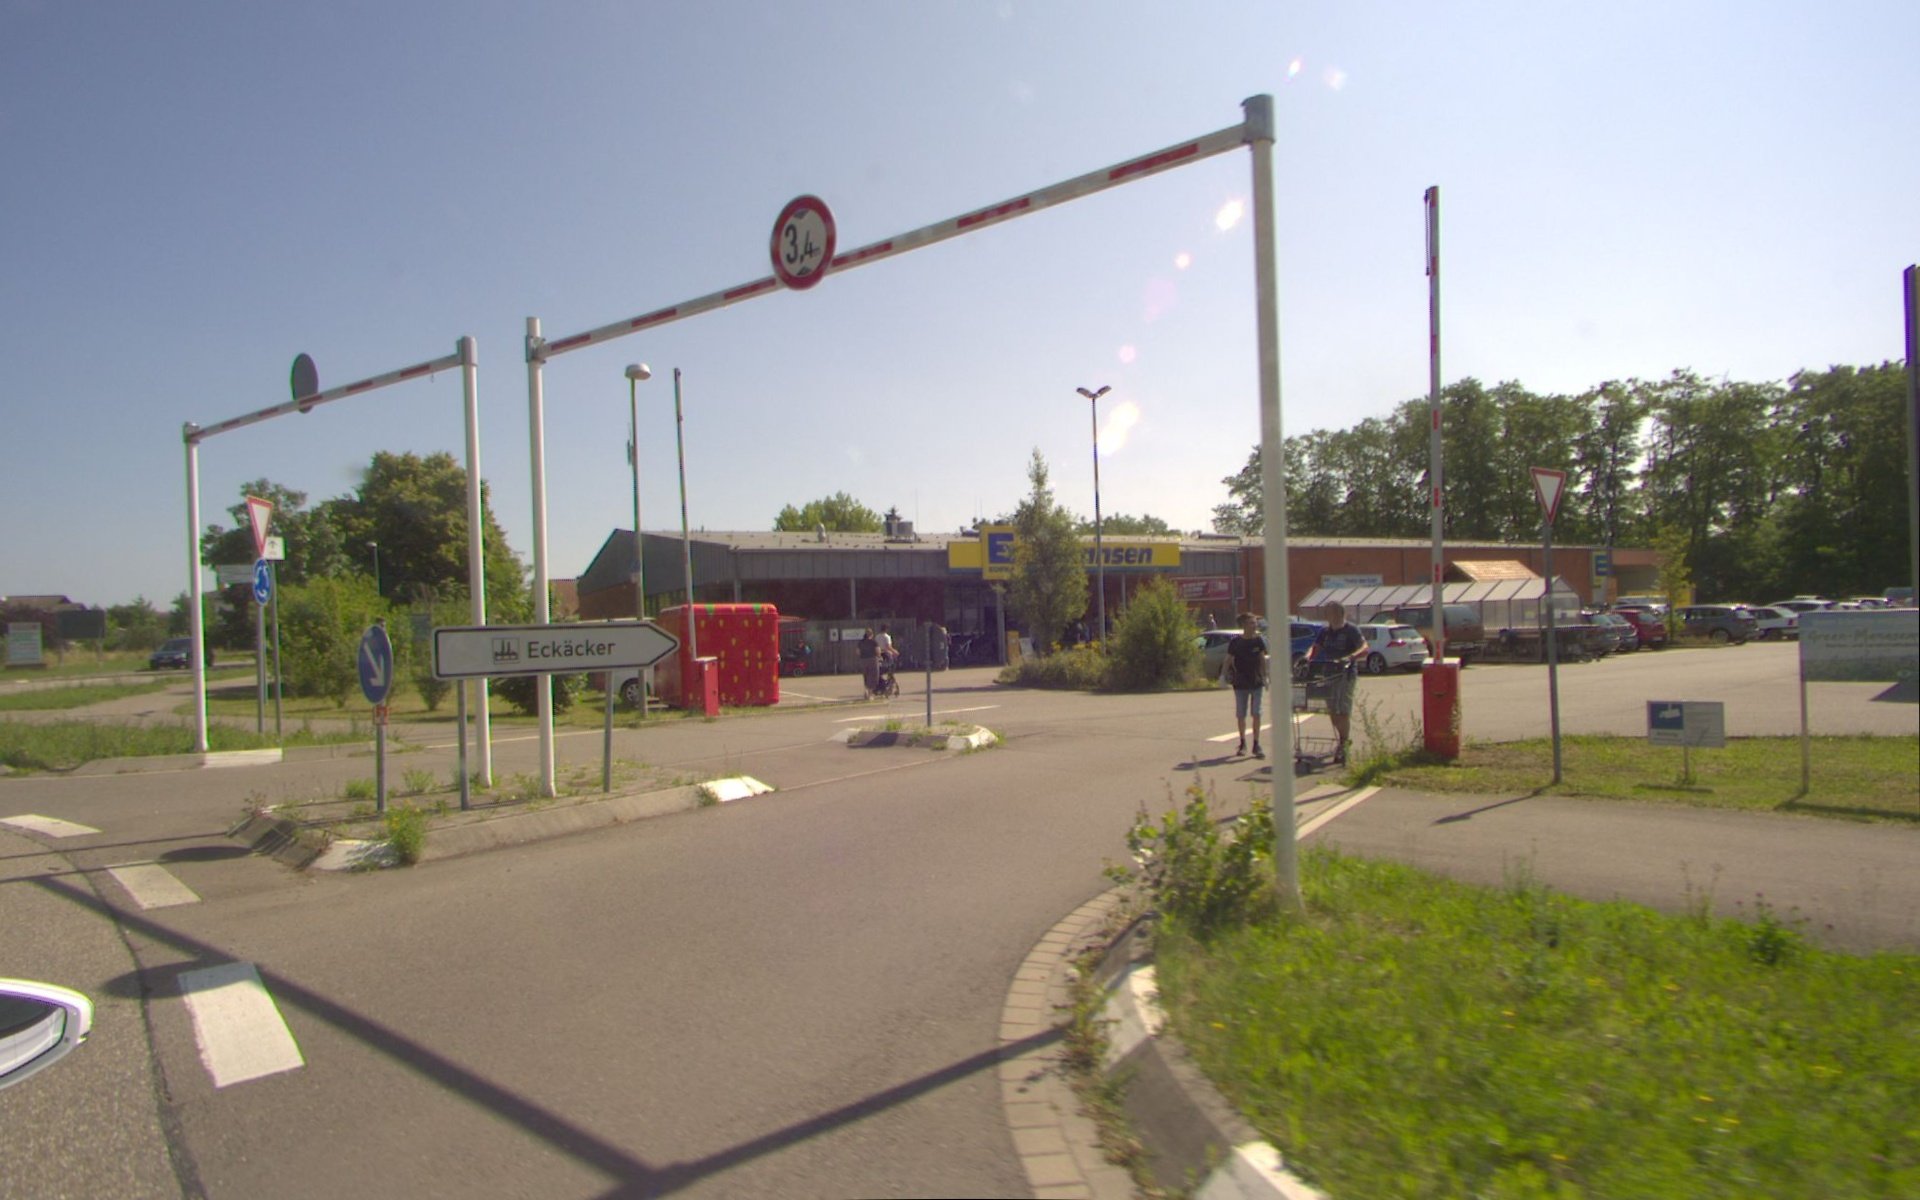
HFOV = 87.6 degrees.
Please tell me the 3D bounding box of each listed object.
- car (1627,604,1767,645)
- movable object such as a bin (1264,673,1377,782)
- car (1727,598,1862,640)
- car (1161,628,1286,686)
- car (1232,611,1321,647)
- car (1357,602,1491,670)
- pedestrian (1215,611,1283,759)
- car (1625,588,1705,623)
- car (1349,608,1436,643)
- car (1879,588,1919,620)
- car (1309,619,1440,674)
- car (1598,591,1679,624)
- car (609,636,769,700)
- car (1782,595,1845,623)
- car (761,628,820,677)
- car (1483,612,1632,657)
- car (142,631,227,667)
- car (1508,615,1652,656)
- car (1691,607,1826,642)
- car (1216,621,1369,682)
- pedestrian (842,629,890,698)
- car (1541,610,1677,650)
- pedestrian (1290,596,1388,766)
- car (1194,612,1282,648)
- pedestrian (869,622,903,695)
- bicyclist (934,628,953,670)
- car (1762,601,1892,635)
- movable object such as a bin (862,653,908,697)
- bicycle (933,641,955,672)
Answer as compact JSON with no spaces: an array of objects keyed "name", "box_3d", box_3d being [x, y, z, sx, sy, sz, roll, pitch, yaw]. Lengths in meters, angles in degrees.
[{"name":"car","box_3d":[28.789,0.963,39.252,1.939,1.505,3.982,0,-2,-29]},{"name":"movable object such as a bin","box_3d":[3.741,1.277,10.340,0.868,0.967,1.198,-2,-1,31]},{"name":"car","box_3d":[35.717,0.833,42.976,1.966,1.683,3.990,-1,-1,-21]},{"name":"car","box_3d":[7.275,1.560,27.976,1.687,1.476,3.485,-1,-2,-20]},{"name":"car","box_3d":[15.896,1.449,50.498,1.972,1.705,3.979,-1,-1,-31]},{"name":"car","box_3d":[14.418,1.116,31.296,1.847,1.953,3.485,-1,-2,-20]},{"name":"pedestrian","box_3d":[3.361,0.969,11.637,0.691,1.669,0.595,-1,-1,19]},{"name":"car","box_3d":[48.082,0.422,68.382,1.968,2.275,4.012,-1,-1,-24]},{"name":"car","box_3d":[23.724,1.414,55.099,1.972,1.839,3.979,0,-2,-31]},{"name":"car","box_3d":[61.773,0.204,64.902,3.938,2.000,1.935,-1,0,-27]},{"name":"car","box_3d":[12.301,1.366,29.917,1.687,1.517,3.485,-1,-2,-20]},{"name":"car","box_3d":[44.783,0.522,66.169,1.968,2.039,3.988,-1,-2,-24]},{"name":"car","box_3d":[-6.891,1.680,25.467,3.712,1.464,1.720,0,-1,-25]},{"name":"car","box_3d":[59.754,0.622,70.098,3.938,1.824,1.935,-1,0,-27]},{"name":"car","box_3d":[-6.033,1.855,35.609,1.801,1.656,1.126,-1,-1,-27]},{"name":"car","box_3d":[20.501,1.202,34.540,1.952,1.438,3.984,0,-2,-27]},{"name":"car","box_3d":[-41.239,2.573,53.386,1.783,1.661,4.650,-5,0,-15]},{"name":"car","box_3d":[22.426,1.293,36.368,1.971,1.393,3.982,0,-2,-29]},{"name":"car","box_3d":[33.463,1.036,42.111,1.967,1.371,3.989,-1,-1,-22]},{"name":"car","box_3d":[9.466,1.443,28.871,1.688,1.591,4.415,-1,-2,-23]},{"name":"pedestrian","box_3d":[-2.266,1.527,24.270,0.801,1.640,0.924,-1,-1,22]},{"name":"car","box_3d":[24.390,1.144,37.752,1.689,1.416,3.984,-1,-2,-28]},{"name":"pedestrian","box_3d":[4.254,0.878,11.230,0.868,1.808,0.838,-2,-1,31]},{"name":"car","box_3d":[13.764,1.500,49.770,1.972,1.705,3.979,-1,-1,-31]},{"name":"pedestrian","box_3d":[-1.974,1.537,26.580,0.825,1.895,0.774,-1,-1,-7]},{"name":"bicyclist","box_3d":[-0.631,1.825,37.454,0.596,1.534,0.677,-1,0,-9]},{"name":"car","box_3d":[38.829,0.828,44.940,1.860,1.416,3.989,-1,-2,-22]},{"name":"movable object such as a bin","box_3d":[-1.885,1.877,25.203,0.755,1.060,1.038,-2,-1,21]},{"name":"bicycle","box_3d":[-0.609,2.082,37.332,0.543,1.055,2.075,-1,-1,-9]}]
